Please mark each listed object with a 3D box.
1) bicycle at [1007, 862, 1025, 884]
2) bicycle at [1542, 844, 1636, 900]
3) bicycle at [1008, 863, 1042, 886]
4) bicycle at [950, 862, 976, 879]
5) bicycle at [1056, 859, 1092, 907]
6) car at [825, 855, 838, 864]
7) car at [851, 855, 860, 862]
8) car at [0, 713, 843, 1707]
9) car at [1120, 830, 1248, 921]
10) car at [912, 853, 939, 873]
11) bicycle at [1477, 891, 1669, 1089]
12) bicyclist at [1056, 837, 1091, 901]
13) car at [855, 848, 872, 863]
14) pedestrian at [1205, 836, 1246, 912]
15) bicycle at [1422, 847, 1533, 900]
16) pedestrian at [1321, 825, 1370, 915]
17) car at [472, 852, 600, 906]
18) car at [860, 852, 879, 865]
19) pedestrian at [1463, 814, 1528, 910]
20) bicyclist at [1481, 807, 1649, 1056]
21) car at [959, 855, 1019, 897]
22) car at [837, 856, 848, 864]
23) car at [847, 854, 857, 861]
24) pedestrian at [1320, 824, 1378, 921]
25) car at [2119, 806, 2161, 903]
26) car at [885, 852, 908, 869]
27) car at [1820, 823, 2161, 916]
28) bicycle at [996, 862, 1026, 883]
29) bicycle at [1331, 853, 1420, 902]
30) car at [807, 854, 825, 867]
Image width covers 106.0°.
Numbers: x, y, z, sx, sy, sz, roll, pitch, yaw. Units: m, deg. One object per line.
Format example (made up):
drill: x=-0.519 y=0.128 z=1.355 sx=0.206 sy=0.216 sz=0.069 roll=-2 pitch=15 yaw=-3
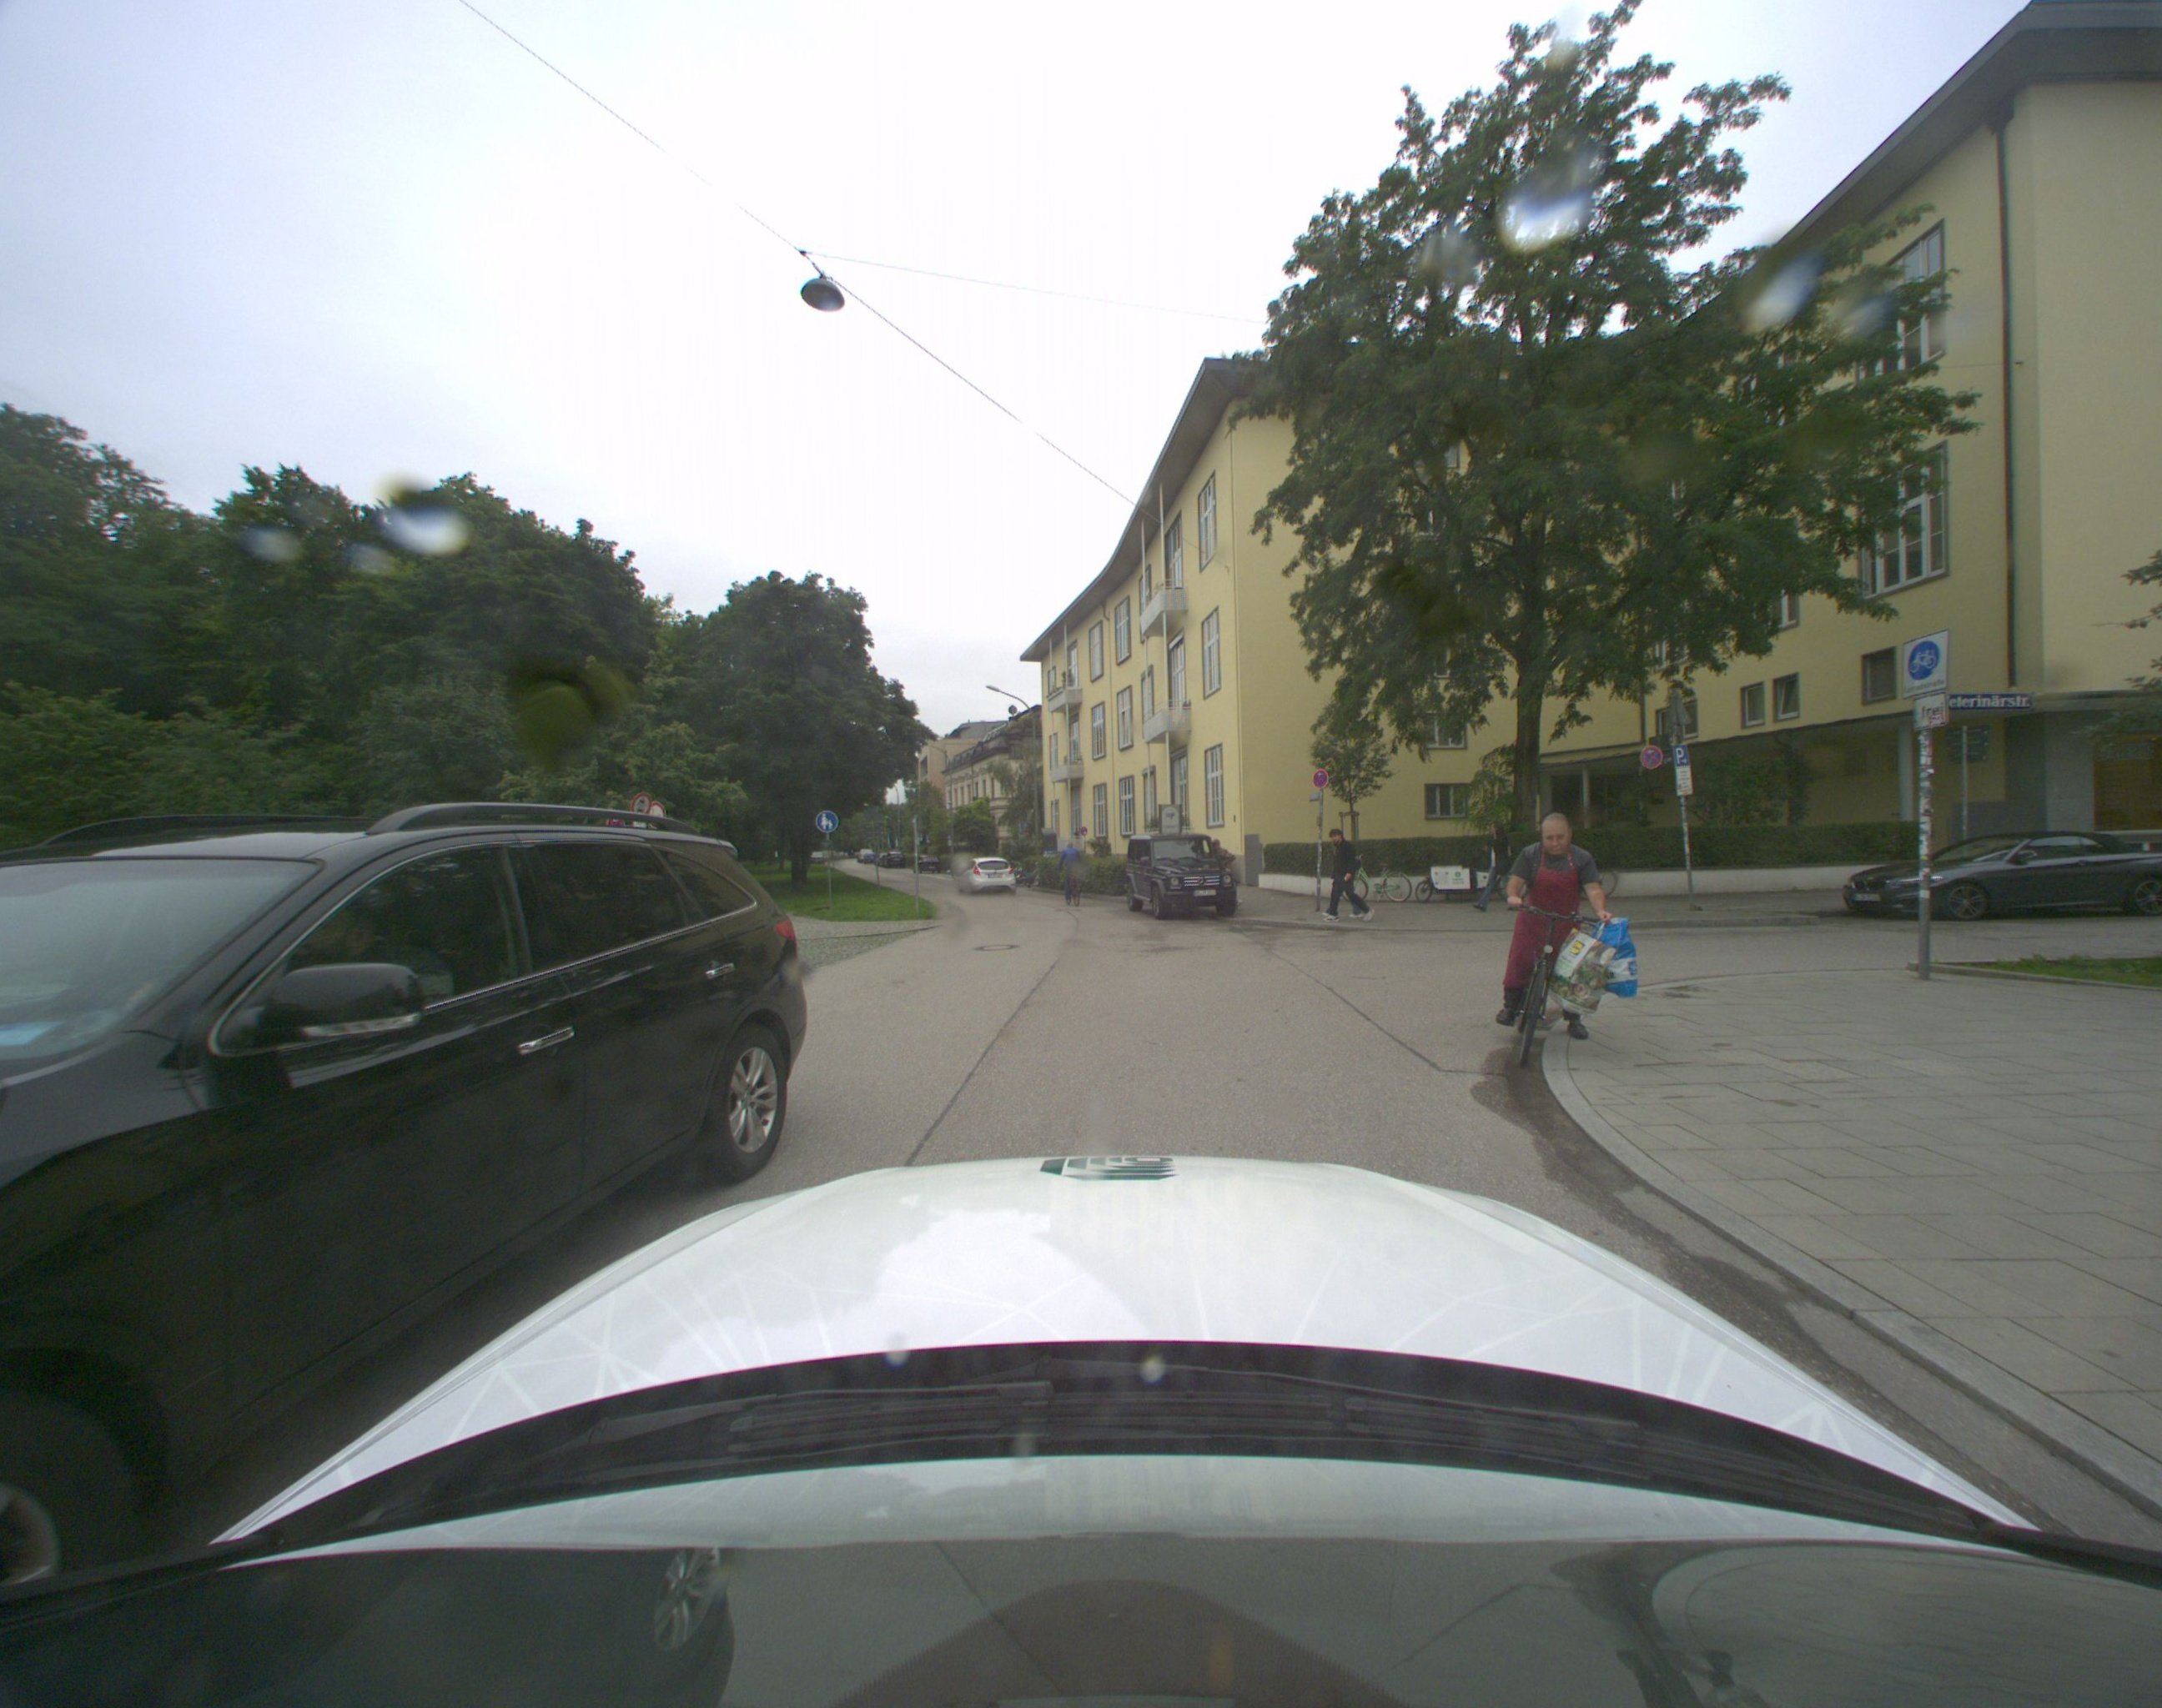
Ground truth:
bicycle: x=-3.249 y=0.926 z=40.836 sx=0.363 sy=1.014 sz=1.543 roll=-3 pitch=1 yaw=13
bicycle: x=10.931 y=0.382 z=17.552 sx=1.675 sy=1.130 sz=0.460 roll=-2 pitch=0 yaw=3
bicycle: x=-2.671 y=0.960 z=39.004 sx=1.539 sy=1.014 sz=0.364 roll=-3 pitch=0 yaw=-22
bicycle: x=-7.426 y=1.039 z=51.204 sx=1.545 sy=1.014 sz=0.405 roll=-3 pitch=1 yaw=-36
bicycle: x=-0.218 y=0.795 z=23.590 sx=0.919 sy=1.252 sz=2.319 roll=-2 pitch=0 yaw=-3
car: x=-46.289 y=0.937 z=151.046 sx=1.997 sy=1.600 sz=4.444 roll=-2 pitch=0 yaw=-15
car: x=-55.451 y=1.131 z=200.105 sx=1.804 sy=1.658 sz=4.231 roll=-2 pitch=0 yaw=-13
car: x=-2.620 y=0.651 z=2.702 sx=1.985 sy=1.719 sz=4.620 roll=-2 pitch=1 yaw=4
car: x=2.371 y=0.452 z=19.982 sx=1.873 sy=1.887 sz=4.604 roll=-2 pitch=0 yaw=-9
car: x=-12.498 y=0.709 z=65.286 sx=1.651 sy=1.558 sz=3.538 roll=-2 pitch=0 yaw=-18
bicycle: x=3.458 y=0.855 z=5.947 sx=0.868 sy=1.019 sz=2.203 roll=-2 pitch=1 yaw=23
bicyclist: x=-0.229 y=0.424 z=23.579 sx=0.912 sy=1.764 sz=1.214 roll=-2 pitch=0 yaw=-4
car: x=-31.382 y=0.236 z=117.443 sx=2.071 sy=1.966 sz=4.949 roll=-2 pitch=0 yaw=-17
pedestrian: x=3.470 y=0.462 z=19.681 sx=0.844 sy=1.757 sz=0.955 roll=-3 pitch=0 yaw=6
bicycle: x=8.813 y=0.444 z=18.191 sx=2.149 sy=1.115 sz=0.644 roll=-2 pitch=0 yaw=21
pedestrian: x=5.323 y=0.314 z=16.373 sx=0.819 sy=1.746 sz=0.744 roll=-2 pitch=0 yaw=22
car: x=-22.700 y=1.015 z=34.044 sx=1.764 sy=2.013 sz=4.026 roll=-2 pitch=0 yaw=36
car: x=-28.231 y=0.564 z=108.706 sx=2.001 sy=1.600 sz=4.225 roll=-2 pitch=0 yaw=-21
pedestrian: x=8.407 y=0.155 z=16.549 sx=0.846 sy=1.857 sz=0.767 roll=-3 pitch=0 yaw=4
bicyclist: x=3.438 y=0.500 z=5.897 sx=0.867 sy=1.609 sz=1.055 roll=-2 pitch=0 yaw=23
car: x=-3.527 y=0.771 z=30.696 sx=1.750 sy=1.406 sz=3.709 roll=-2 pitch=0 yaw=-14
car: x=-50.020 y=1.210 z=170.878 sx=1.802 sy=1.658 sz=4.235 roll=-2 pitch=0 yaw=-10
car: x=-54.633 y=0.832 z=194.320 sx=1.994 sy=1.600 sz=4.450 roll=-2 pitch=0 yaw=-11
pedestrian: x=5.139 y=0.353 z=15.636 sx=0.982 sy=1.809 sz=0.663 roll=-2 pitch=0 yaw=17
car: x=20.714 y=-0.143 z=13.483 sx=4.286 sy=1.662 sz=1.860 roll=-4 pitch=-3 yaw=5
car: x=-18.975 y=0.648 z=83.631 sx=1.799 sy=1.680 sz=3.972 roll=-2 pitch=1 yaw=-21
car: x=15.499 y=0.276 z=13.750 sx=4.298 sy=1.367 sz=1.665 roll=-2 pitch=-2 yaw=6
bicycle: x=-3.591 y=0.952 z=41.934 sx=1.546 sy=1.014 sz=0.363 roll=-3 pitch=1 yaw=-40
bicycle: x=7.051 y=0.582 z=19.573 sx=0.532 sy=1.084 sz=1.926 roll=-1 pitch=-2 yaw=-43
car: x=-34.760 y=0.825 z=106.812 sx=2.000 sy=1.600 sz=4.438 roll=-2 pitch=0 yaw=-20
